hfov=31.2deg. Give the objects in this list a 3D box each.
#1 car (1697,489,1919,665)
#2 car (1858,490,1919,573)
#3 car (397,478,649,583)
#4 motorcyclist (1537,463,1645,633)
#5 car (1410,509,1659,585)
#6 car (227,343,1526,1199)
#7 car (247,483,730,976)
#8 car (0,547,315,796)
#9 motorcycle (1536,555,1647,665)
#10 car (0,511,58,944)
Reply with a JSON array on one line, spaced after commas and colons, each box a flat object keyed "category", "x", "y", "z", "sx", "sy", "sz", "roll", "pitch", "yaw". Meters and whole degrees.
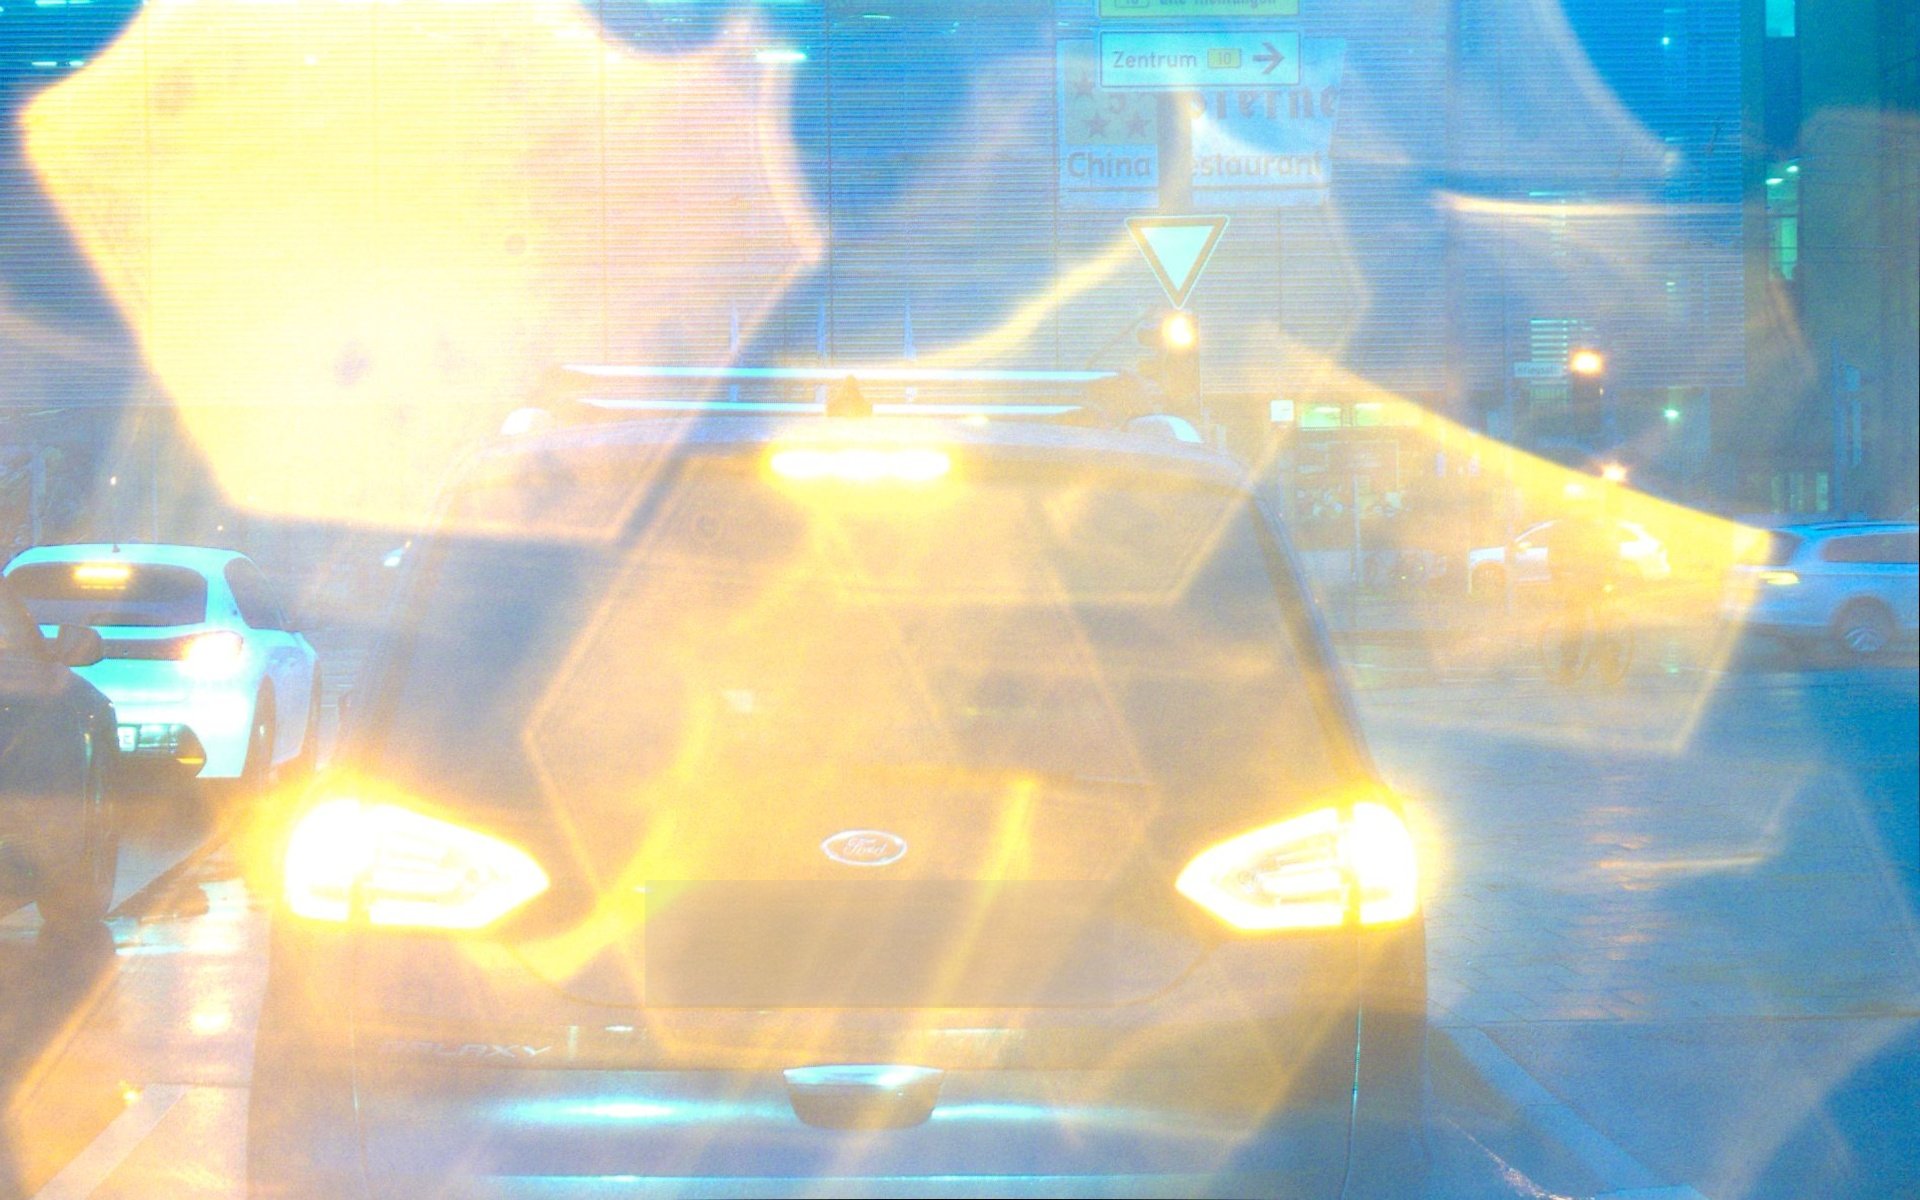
[{"category": "car", "x": 10.649, "y": -0.281, "z": 37.659, "sx": 4.667, "sy": 1.844, "sz": 1.832, "roll": -1, "pitch": 0, "yaw": -9}, {"category": "car", "x": 19.956, "y": -1.358, "z": 66.952, "sx": 4.418, "sy": 1.589, "sz": 1.800, "roll": -1, "pitch": 1, "yaw": -7}, {"category": "car", "x": -8.608, "y": -1.382, "z": 67.803, "sx": 4.838, "sy": 1.993, "sz": 1.800, "roll": -1, "pitch": 1, "yaw": -7}, {"category": "motorcyclist", "x": 5.801, "y": -0.482, "z": 31.657, "sx": 0.868, "sy": 1.529, "sz": 1.108, "roll": 0, "pitch": 1, "yaw": 5}, {"category": "car", "x": 11.094, "y": -1.033, "z": 66.530, "sx": 4.418, "sy": 1.385, "sz": 1.800, "roll": -1, "pitch": 1, "yaw": -7}, {"category": "car", "x": -0.221, "y": 0.497, "z": 6.810, "sx": 1.735, "sy": 1.732, "sz": 4.247, "roll": 2, "pitch": 1, "yaw": -3}, {"category": "car", "x": -1.779, "y": 0.422, "z": 13.682, "sx": 1.636, "sy": 1.691, "sz": 3.671, "roll": 1, "pitch": 1, "yaw": -5}, {"category": "car", "x": -4.535, "y": 0.330, "z": 19.489, "sx": 1.540, "sy": 1.247, "sz": 4.069, "roll": 0, "pitch": 1, "yaw": -8}, {"category": "motorcycle", "x": 5.801, "y": 0.083, "z": 31.652, "sx": 0.853, "sy": 0.968, "sz": 1.581, "roll": 0, "pitch": 1, "yaw": 5}, {"category": "car", "x": -4.286, "y": 0.483, "z": 11.507, "sx": 1.752, "sy": 1.568, "sz": 4.001, "roll": -1, "pitch": 1, "yaw": -4}]
